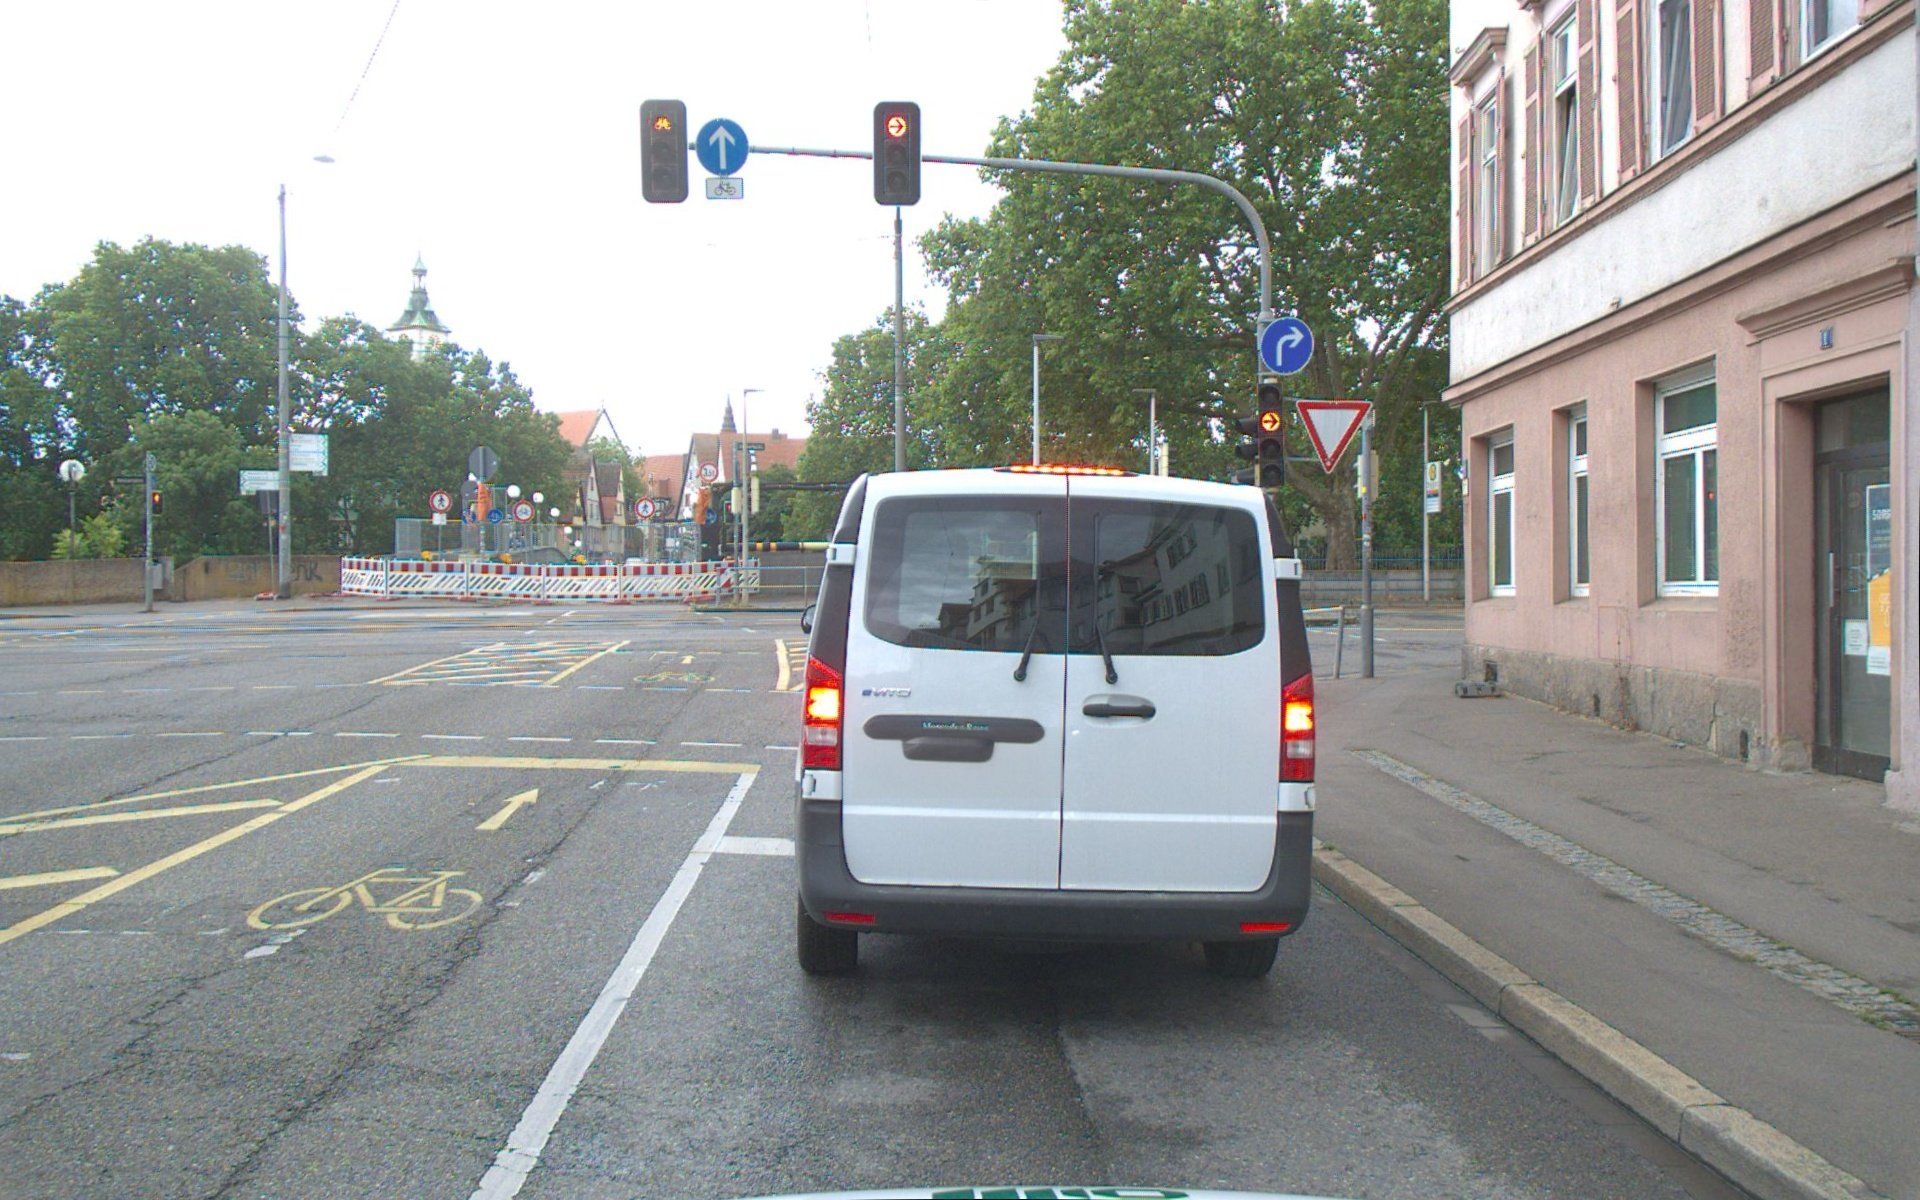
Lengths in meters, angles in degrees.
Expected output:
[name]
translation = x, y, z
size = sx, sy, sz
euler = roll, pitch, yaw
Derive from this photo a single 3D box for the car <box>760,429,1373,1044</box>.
[car]
translation = 0.227, 0.371, 7.432
size = 1.954, 1.956, 4.247
euler = 1, 2, -3
